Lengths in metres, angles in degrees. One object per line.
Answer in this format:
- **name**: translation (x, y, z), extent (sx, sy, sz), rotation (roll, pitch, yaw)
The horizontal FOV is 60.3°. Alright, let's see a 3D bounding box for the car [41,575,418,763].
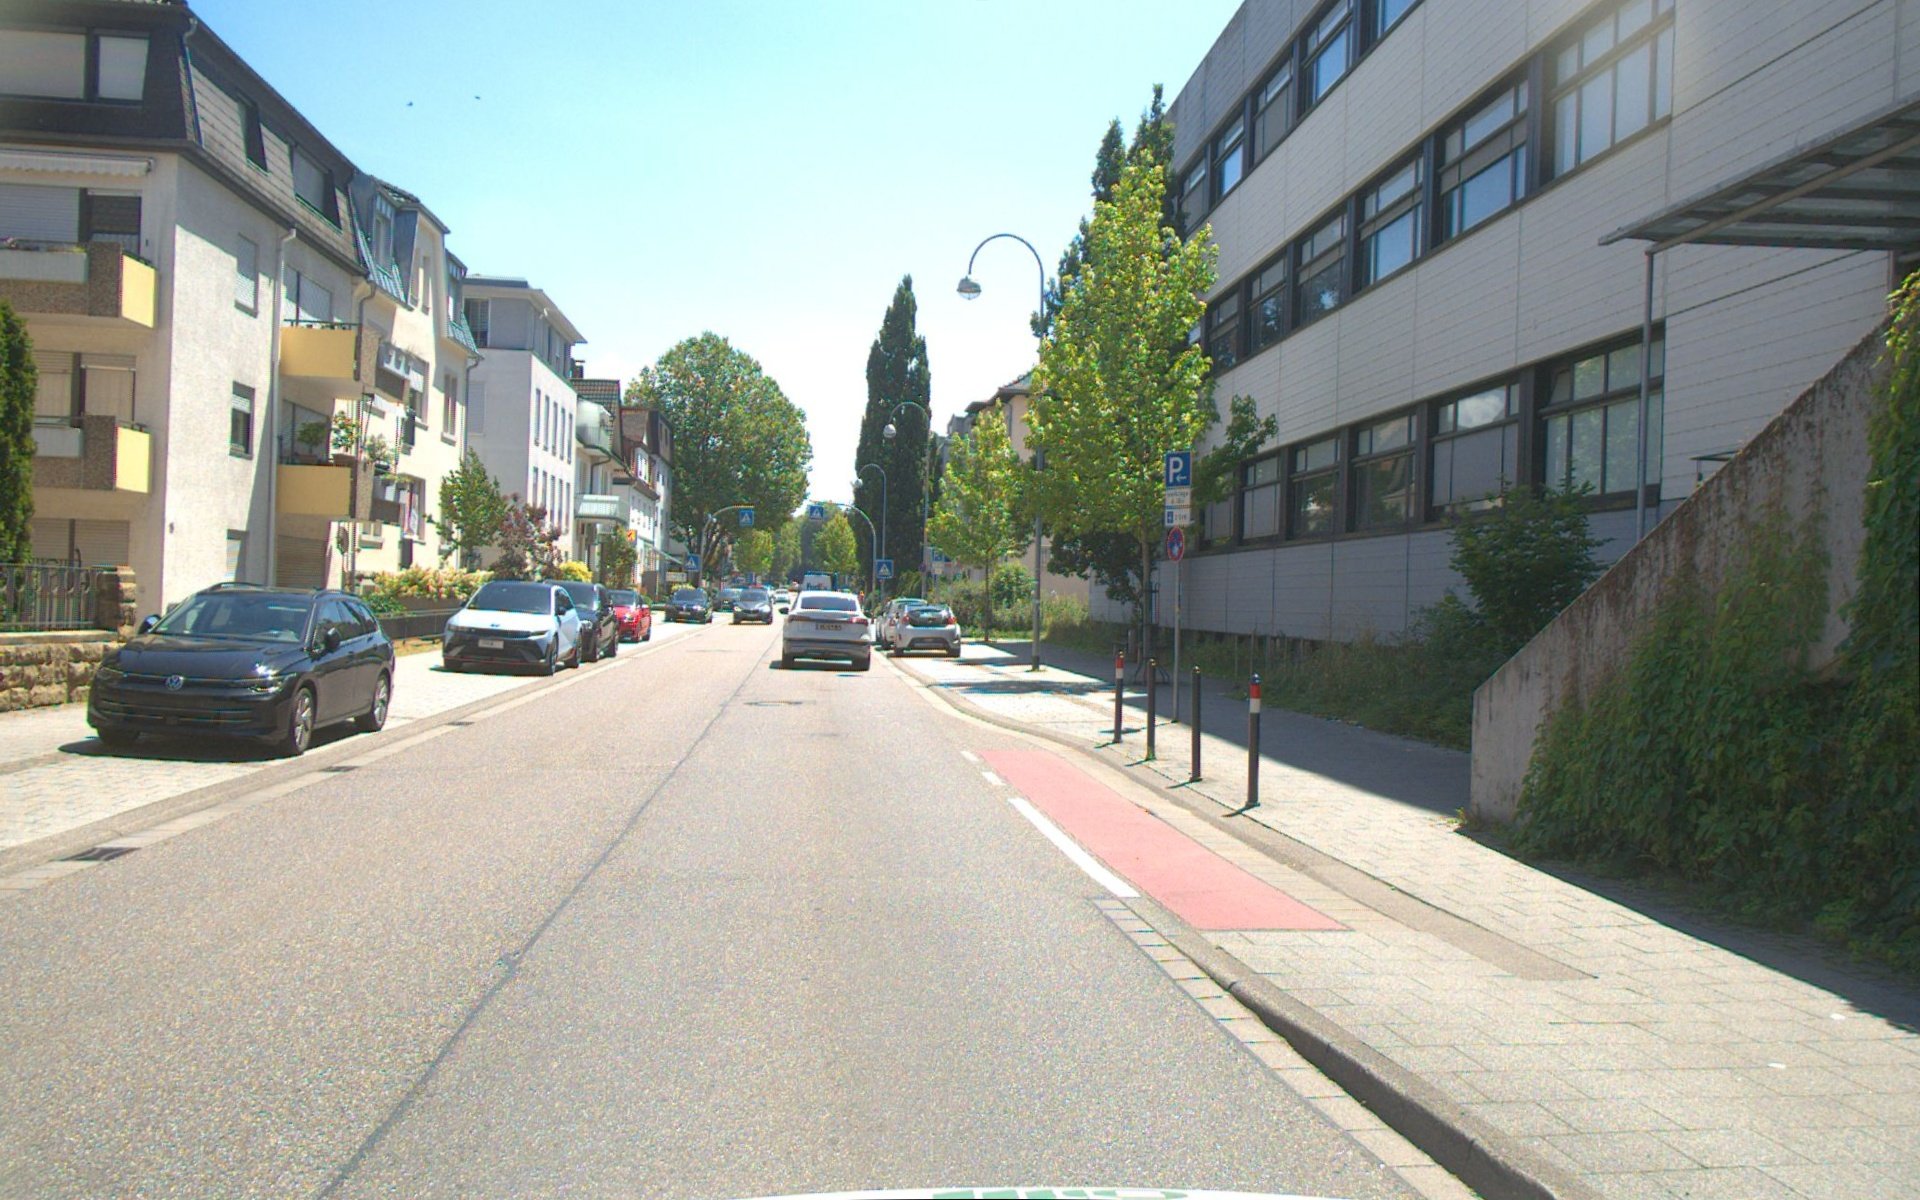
- **car**: translation (-6.963, 0.597, 16.392), extent (1.888, 1.461, 4.654), rotation (4, 0, -5)

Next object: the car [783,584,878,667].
- **car**: translation (-2.870, 0.530, 36.616), extent (1.898, 1.642, 4.467), rotation (2, 0, -5)

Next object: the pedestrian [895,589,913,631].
- **pedestrian**: translation (-2.428, 0.416, 71.751), extent (0.625, 1.789, 0.615), rotation (2, 0, -10)

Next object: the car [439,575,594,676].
- **car**: translation (-8.177, 0.450, 30.937), extent (1.888, 1.600, 4.654), rotation (4, 0, -5)

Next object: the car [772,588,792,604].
- **car**: translation (-17.945, -0.402, 166.570), extent (1.941, 1.546, 3.995), rotation (2, 0, -6)

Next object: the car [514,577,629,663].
- **car**: translation (-8.531, 0.428, 36.659), extent (1.692, 1.647, 4.566), rotation (5, 0, -5)

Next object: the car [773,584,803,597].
- **car**: translation (-24.133, -1.359, 232.753), extent (3.904, 1.680, 2.000), rotation (2, 0, 2)

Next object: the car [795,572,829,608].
- **car**: translation (-9.515, -0.601, 105.829), extent (2.030, 2.235, 5.130), rotation (0, 0, -7)

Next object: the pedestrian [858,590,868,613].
- **pedestrian**: translation (-7.561, 0.132, 128.941), extent (0.681, 1.767, 0.666), rotation (2, -1, -10)

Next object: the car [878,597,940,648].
- **car**: translation (-1.634, 0.674, 51.458), extent (1.626, 1.514, 4.340), rotation (0, 0, -6)

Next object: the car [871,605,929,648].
- **car**: translation (-2.076, 0.868, 56.184), extent (1.692, 1.407, 4.396), rotation (0, 0, -6)

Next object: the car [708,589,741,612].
- **car**: translation (-15.439, 0.037, 108.493), extent (1.955, 1.373, 3.995), rotation (2, 0, -6)

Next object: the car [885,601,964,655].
- **car**: translation (-1.023, 0.739, 45.839), extent (1.827, 1.397, 3.994), rotation (1, 0, -6)

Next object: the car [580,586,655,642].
- **car**: translation (-9.873, 0.399, 47.929), extent (1.618, 1.443, 3.901), rotation (4, 0, -6)

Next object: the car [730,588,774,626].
- **car**: translation (-9.792, 0.334, 77.953), extent (1.936, 1.700, 4.465), rotation (1, 0, -6)

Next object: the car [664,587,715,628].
- **car**: translation (-12.225, 0.322, 74.969), extent (1.888, 1.750, 4.467), rotation (2, 0, -5)
